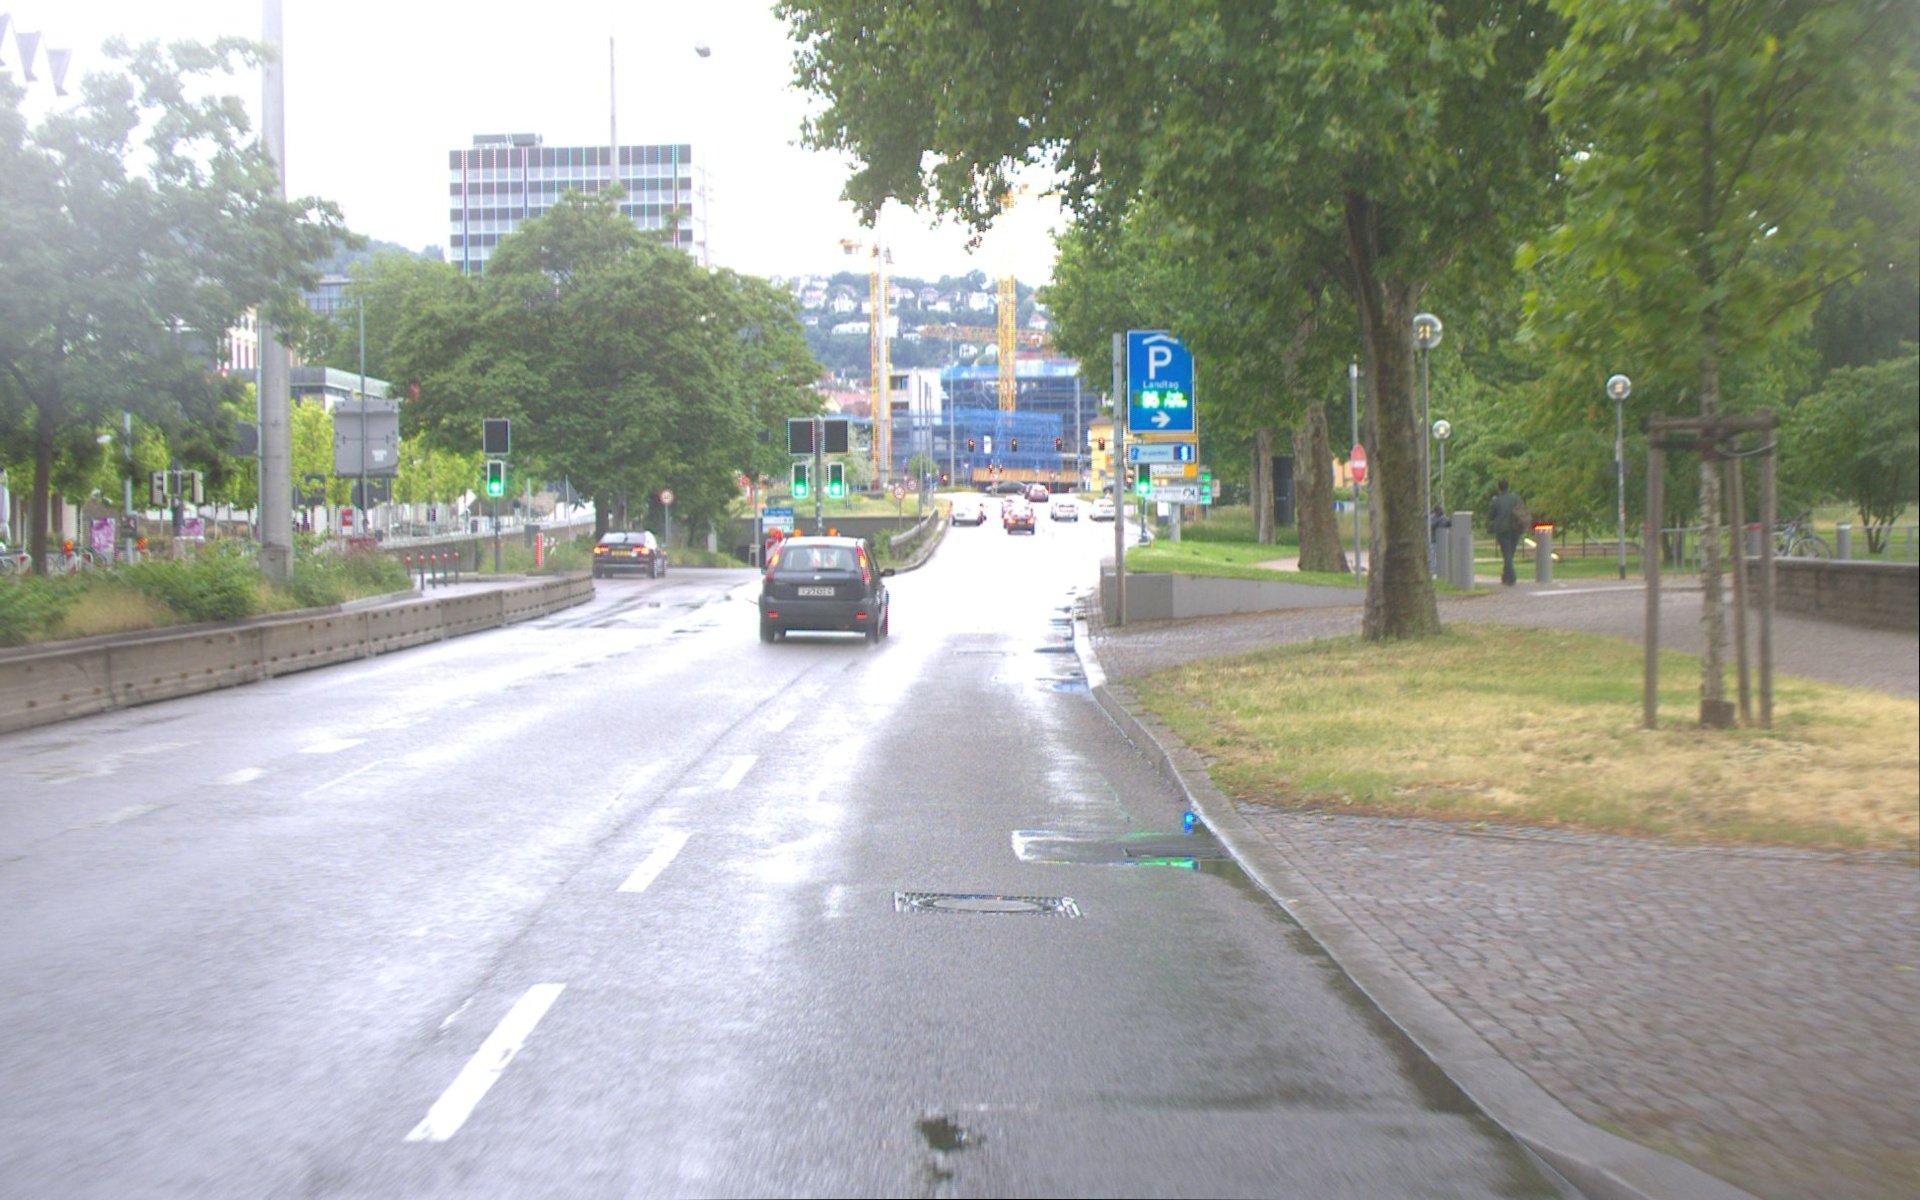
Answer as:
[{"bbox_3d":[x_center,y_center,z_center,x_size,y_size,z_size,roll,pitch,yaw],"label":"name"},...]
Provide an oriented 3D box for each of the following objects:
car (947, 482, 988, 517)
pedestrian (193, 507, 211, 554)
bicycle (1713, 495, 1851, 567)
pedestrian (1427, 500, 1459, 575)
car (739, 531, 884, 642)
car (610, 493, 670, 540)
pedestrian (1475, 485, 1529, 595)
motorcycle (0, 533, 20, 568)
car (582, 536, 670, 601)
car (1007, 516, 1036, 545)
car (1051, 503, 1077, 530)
[{"bbox_3d":[0.535,-7.160,245.587,2.220,2.007,3.998,-5,-4,8],"label":"car"},{"bbox_3d":[-32.991,-3.037,149.663,0.539,2.006,0.531,-2,2,-34],"label":"pedestrian"},{"bbox_3d":[13.809,-1.164,57.745,2.034,1.169,0.960,-1,2,-9],"label":"bicycle"},{"bbox_3d":[11.435,-1.488,81.373,0.594,1.749,0.725,-2,2,-1],"label":"pedestrian"},{"bbox_3d":[-2.100,-0.200,47.666,1.843,1.411,3.840,-2,1,-4],"label":"car"},{"bbox_3d":[-11.350,-2.967,122.154,1.993,1.626,4.001,0,1,-4],"label":"car"},{"bbox_3d":[8.660,-0.966,54.956,0.705,1.712,0.692,-2,2,1],"label":"pedestrian"},{"bbox_3d":[-32.694,-1.650,115.981,1.833,1.150,0.427,-2,1,-26],"label":"motorcycle"},{"bbox_3d":[-9.633,-0.932,99.328,1.993,1.774,4.000,-1,2,2],"label":"car"},{"bbox_3d":[4.019,-4.518,223.915,1.739,1.765,4.000,-2,1,2],"label":"car"},{"bbox_3d":[7.930,-6.354,261.435,1.987,2.007,4.000,0,1,2],"label":"car"}]
